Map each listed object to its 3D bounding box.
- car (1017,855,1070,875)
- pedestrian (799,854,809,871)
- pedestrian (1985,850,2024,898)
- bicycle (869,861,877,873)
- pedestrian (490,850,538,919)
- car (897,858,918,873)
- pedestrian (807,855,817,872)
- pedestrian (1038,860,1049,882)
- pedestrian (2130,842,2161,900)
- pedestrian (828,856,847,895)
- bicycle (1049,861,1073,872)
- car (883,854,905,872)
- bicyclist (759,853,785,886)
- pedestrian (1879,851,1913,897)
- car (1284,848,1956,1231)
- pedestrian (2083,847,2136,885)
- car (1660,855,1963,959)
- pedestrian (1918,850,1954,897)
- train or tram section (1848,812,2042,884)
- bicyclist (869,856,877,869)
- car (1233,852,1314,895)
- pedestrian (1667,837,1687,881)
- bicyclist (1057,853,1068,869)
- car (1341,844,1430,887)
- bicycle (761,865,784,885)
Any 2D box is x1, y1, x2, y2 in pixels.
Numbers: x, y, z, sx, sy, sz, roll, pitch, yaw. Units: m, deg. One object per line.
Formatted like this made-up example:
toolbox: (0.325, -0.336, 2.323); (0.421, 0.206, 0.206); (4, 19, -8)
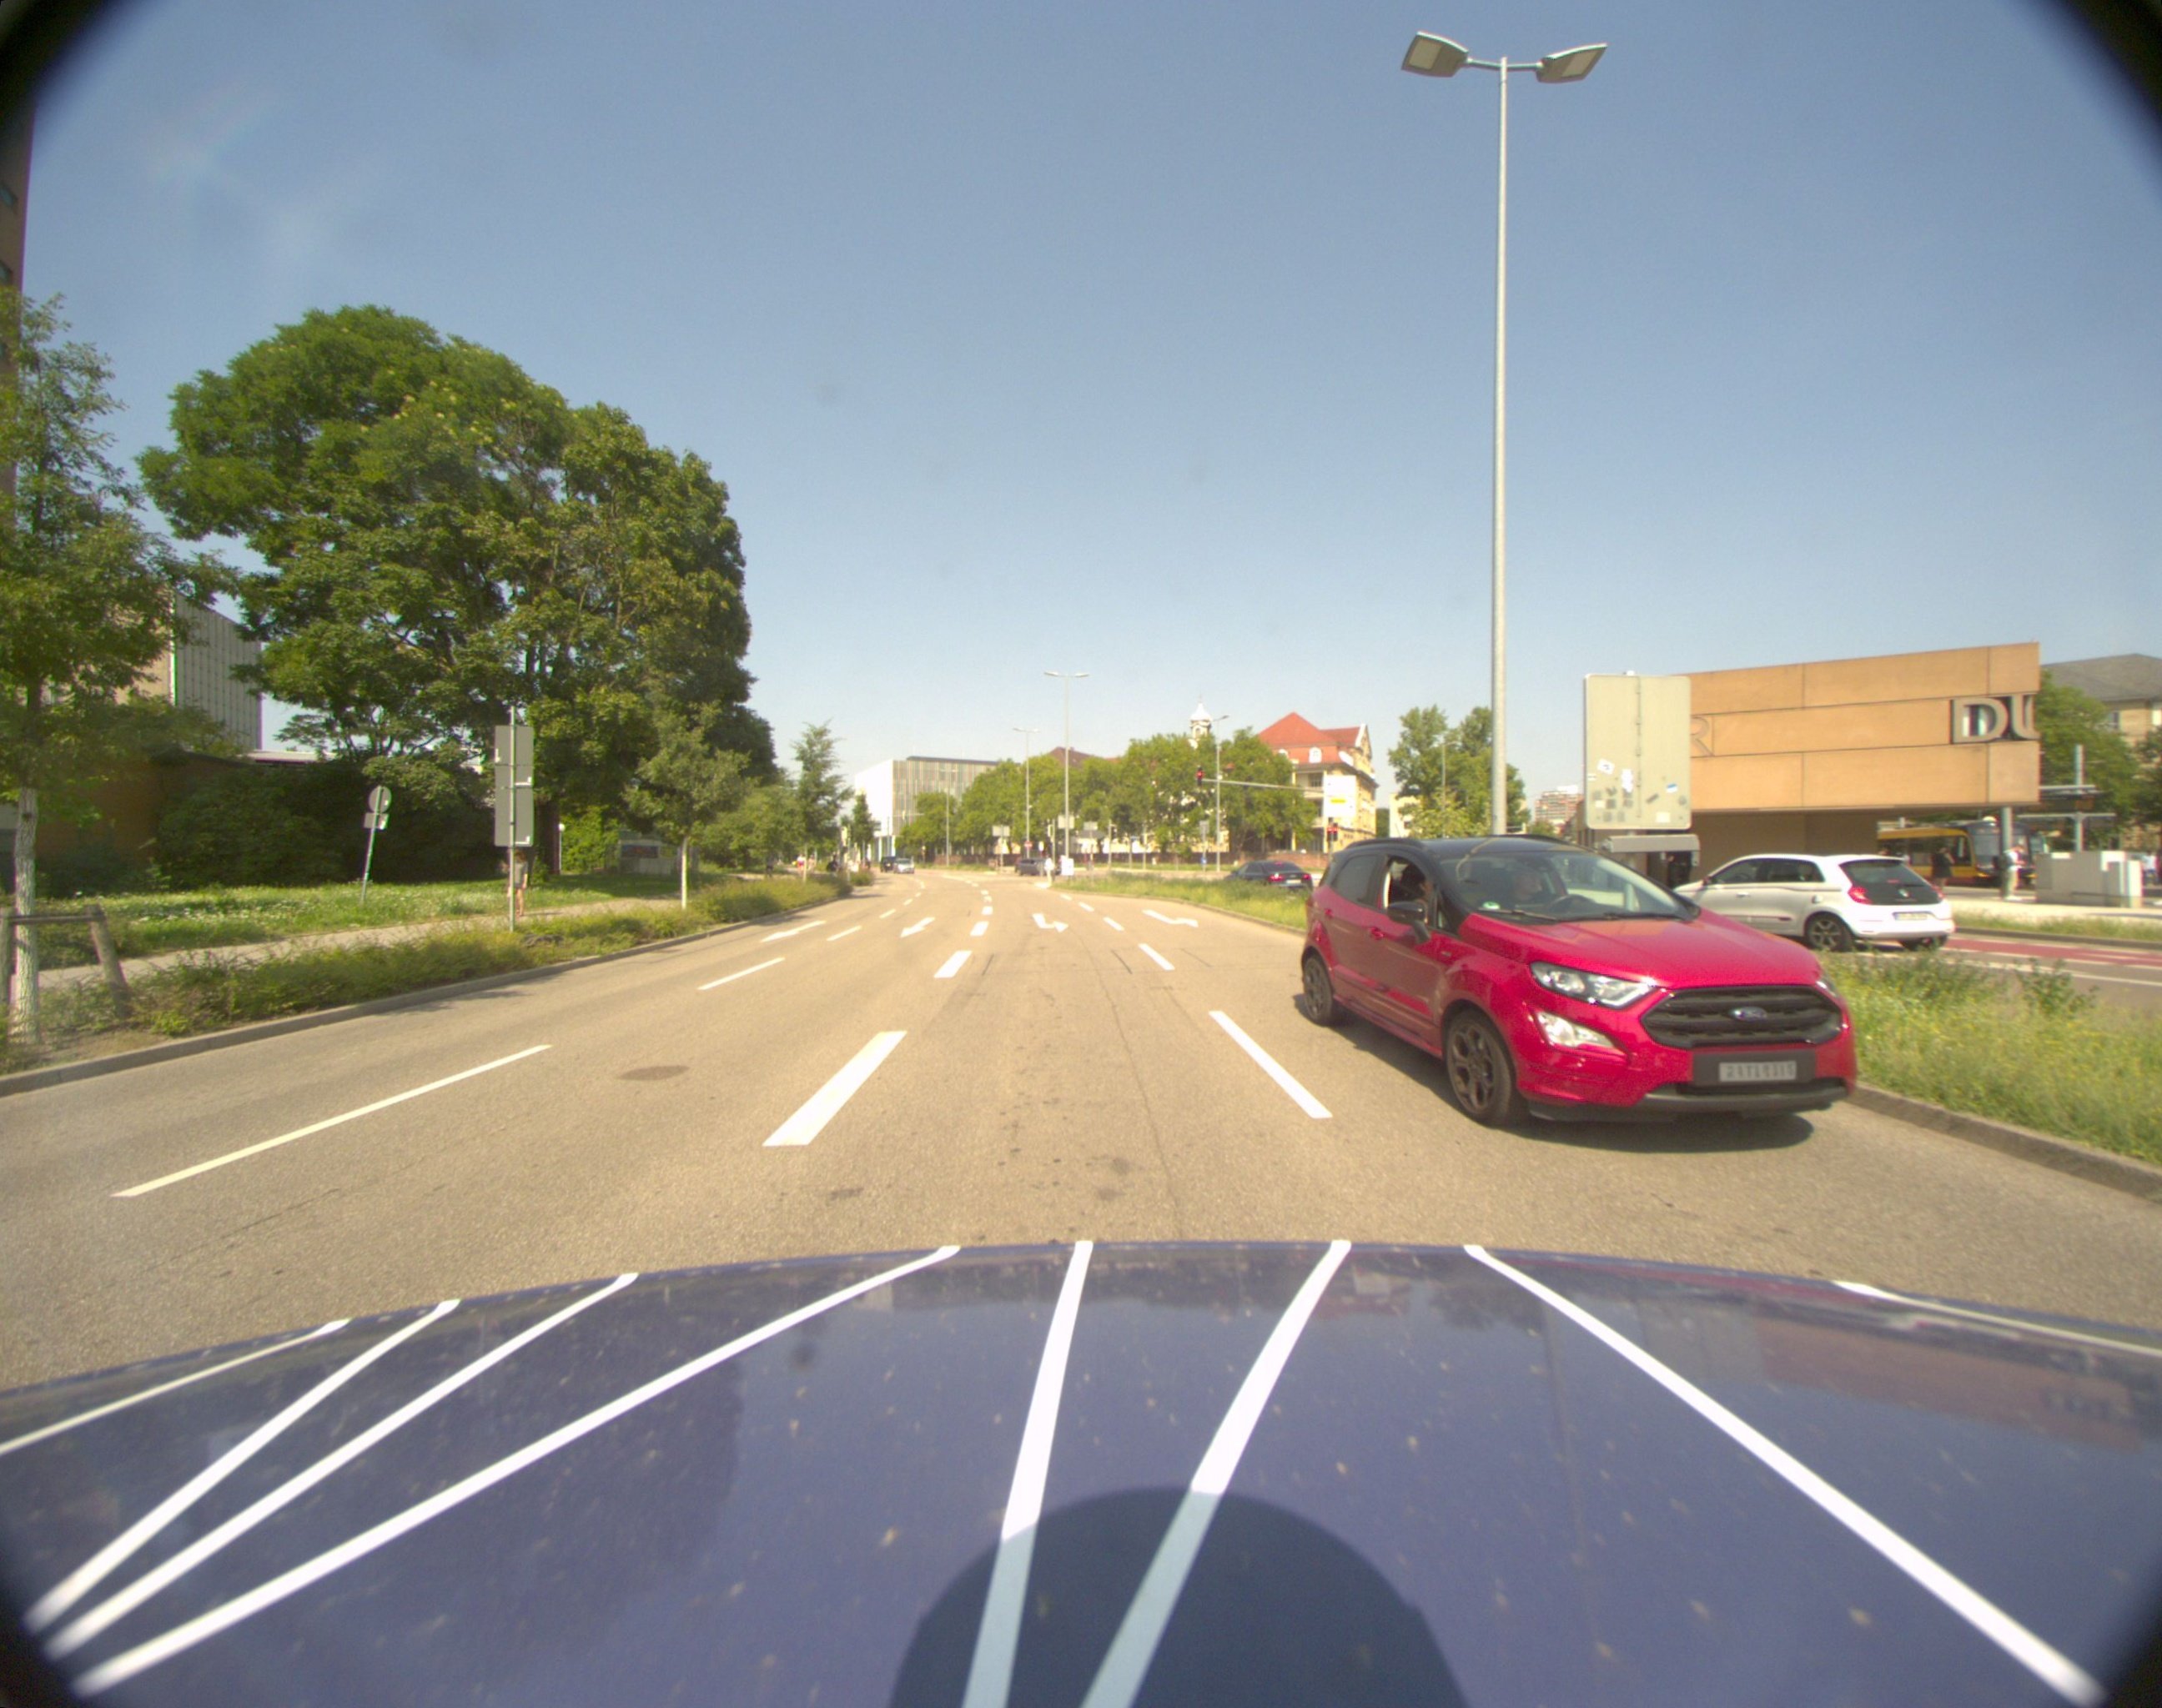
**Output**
car: (-3.007, 0.858, 60.845); (3.989, 1.608, 1.803); (0, 0, 33)
pedestrian: (-21.452, 0.644, 58.923); (0.635, 1.291, 0.486); (-3, 1, -25)
pedestrian: (28.731, 0.614, 23.638); (0.539, 1.488, 0.541); (0, 1, -1)
bicycle: (-20.930, 1.319, 76.547); (0.595, 1.162, 2.231); (-1, 0, -20)
pedestrian: (-14.290, 0.755, 19.175); (0.672, 1.689, 0.805); (0, 1, -11)
car: (-18.315, 1.216, 80.055); (1.661, 1.521, 4.526); (-2, 0, -19)
pedestrian: (-20.934, 0.774, 59.044); (0.618, 1.291, 0.436); (-3, 1, -27)
pedestrian: (-2.251, 1.018, 45.184); (0.605, 1.291, 0.617); (-2, 1, -4)
pedestrian: (28.046, 0.425, 19.732); (0.771, 1.488, 0.606); (0, 1, -1)
pedestrian: (-11.963, 1.026, 37.356); (0.823, 1.892, 0.630); (-1, 1, -12)
bicycle: (-1.933, 1.235, 74.264); (2.267, 1.070, 0.659); (0, 0, -6)
car: (-21.627, 1.037, 87.761); (1.893, 1.908, 4.526); (-2, 0, -20)
bicyclist: (-15.263, 0.773, 37.597); (0.904, 1.596, 0.924); (0, 0, -1)
pedestrian: (26.519, 0.641, 24.729); (0.539, 1.488, 0.541); (0, 1, -1)
car: (2.862, 0.792, 5.190); (1.694, 1.577, 3.843); (-2, 0, -3)
pedestrian: (47.414, 0.549, 35.054); (1.076, 1.686, 1.066); (0, 1, 27)
car: (11.850, 0.757, 12.664); (1.526, 1.470, 3.475); (0, 0, -6)
pedestrian: (27.692, 0.618, 24.615); (0.539, 1.488, 0.541); (0, 1, -1)
train or tram section: (47.910, -0.285, 42.852); (2.698, 3.418, 13.446); (0, 0, 28)
bicyclist: (-20.941, 0.850, 76.575); (0.680, 1.392, 1.047); (-1, 0, -20)
car: (6.659, 0.637, 26.588); (1.526, 1.417, 3.474); (0, 0, -9)
pedestrian: (21.947, 0.175, 27.978); (0.540, 1.615, 0.689); (0, 1, 35)
bicyclist: (-1.770, 0.659, 74.245); (1.017, 1.542, 0.718); (0, 0, -6)
car: (13.604, 0.465, 34.183); (1.869, 1.843, 3.911); (0, 1, -12)
bicycle: (-15.243, 1.027, 37.551); (0.357, 0.974, 1.782); (0, 0, 1)
